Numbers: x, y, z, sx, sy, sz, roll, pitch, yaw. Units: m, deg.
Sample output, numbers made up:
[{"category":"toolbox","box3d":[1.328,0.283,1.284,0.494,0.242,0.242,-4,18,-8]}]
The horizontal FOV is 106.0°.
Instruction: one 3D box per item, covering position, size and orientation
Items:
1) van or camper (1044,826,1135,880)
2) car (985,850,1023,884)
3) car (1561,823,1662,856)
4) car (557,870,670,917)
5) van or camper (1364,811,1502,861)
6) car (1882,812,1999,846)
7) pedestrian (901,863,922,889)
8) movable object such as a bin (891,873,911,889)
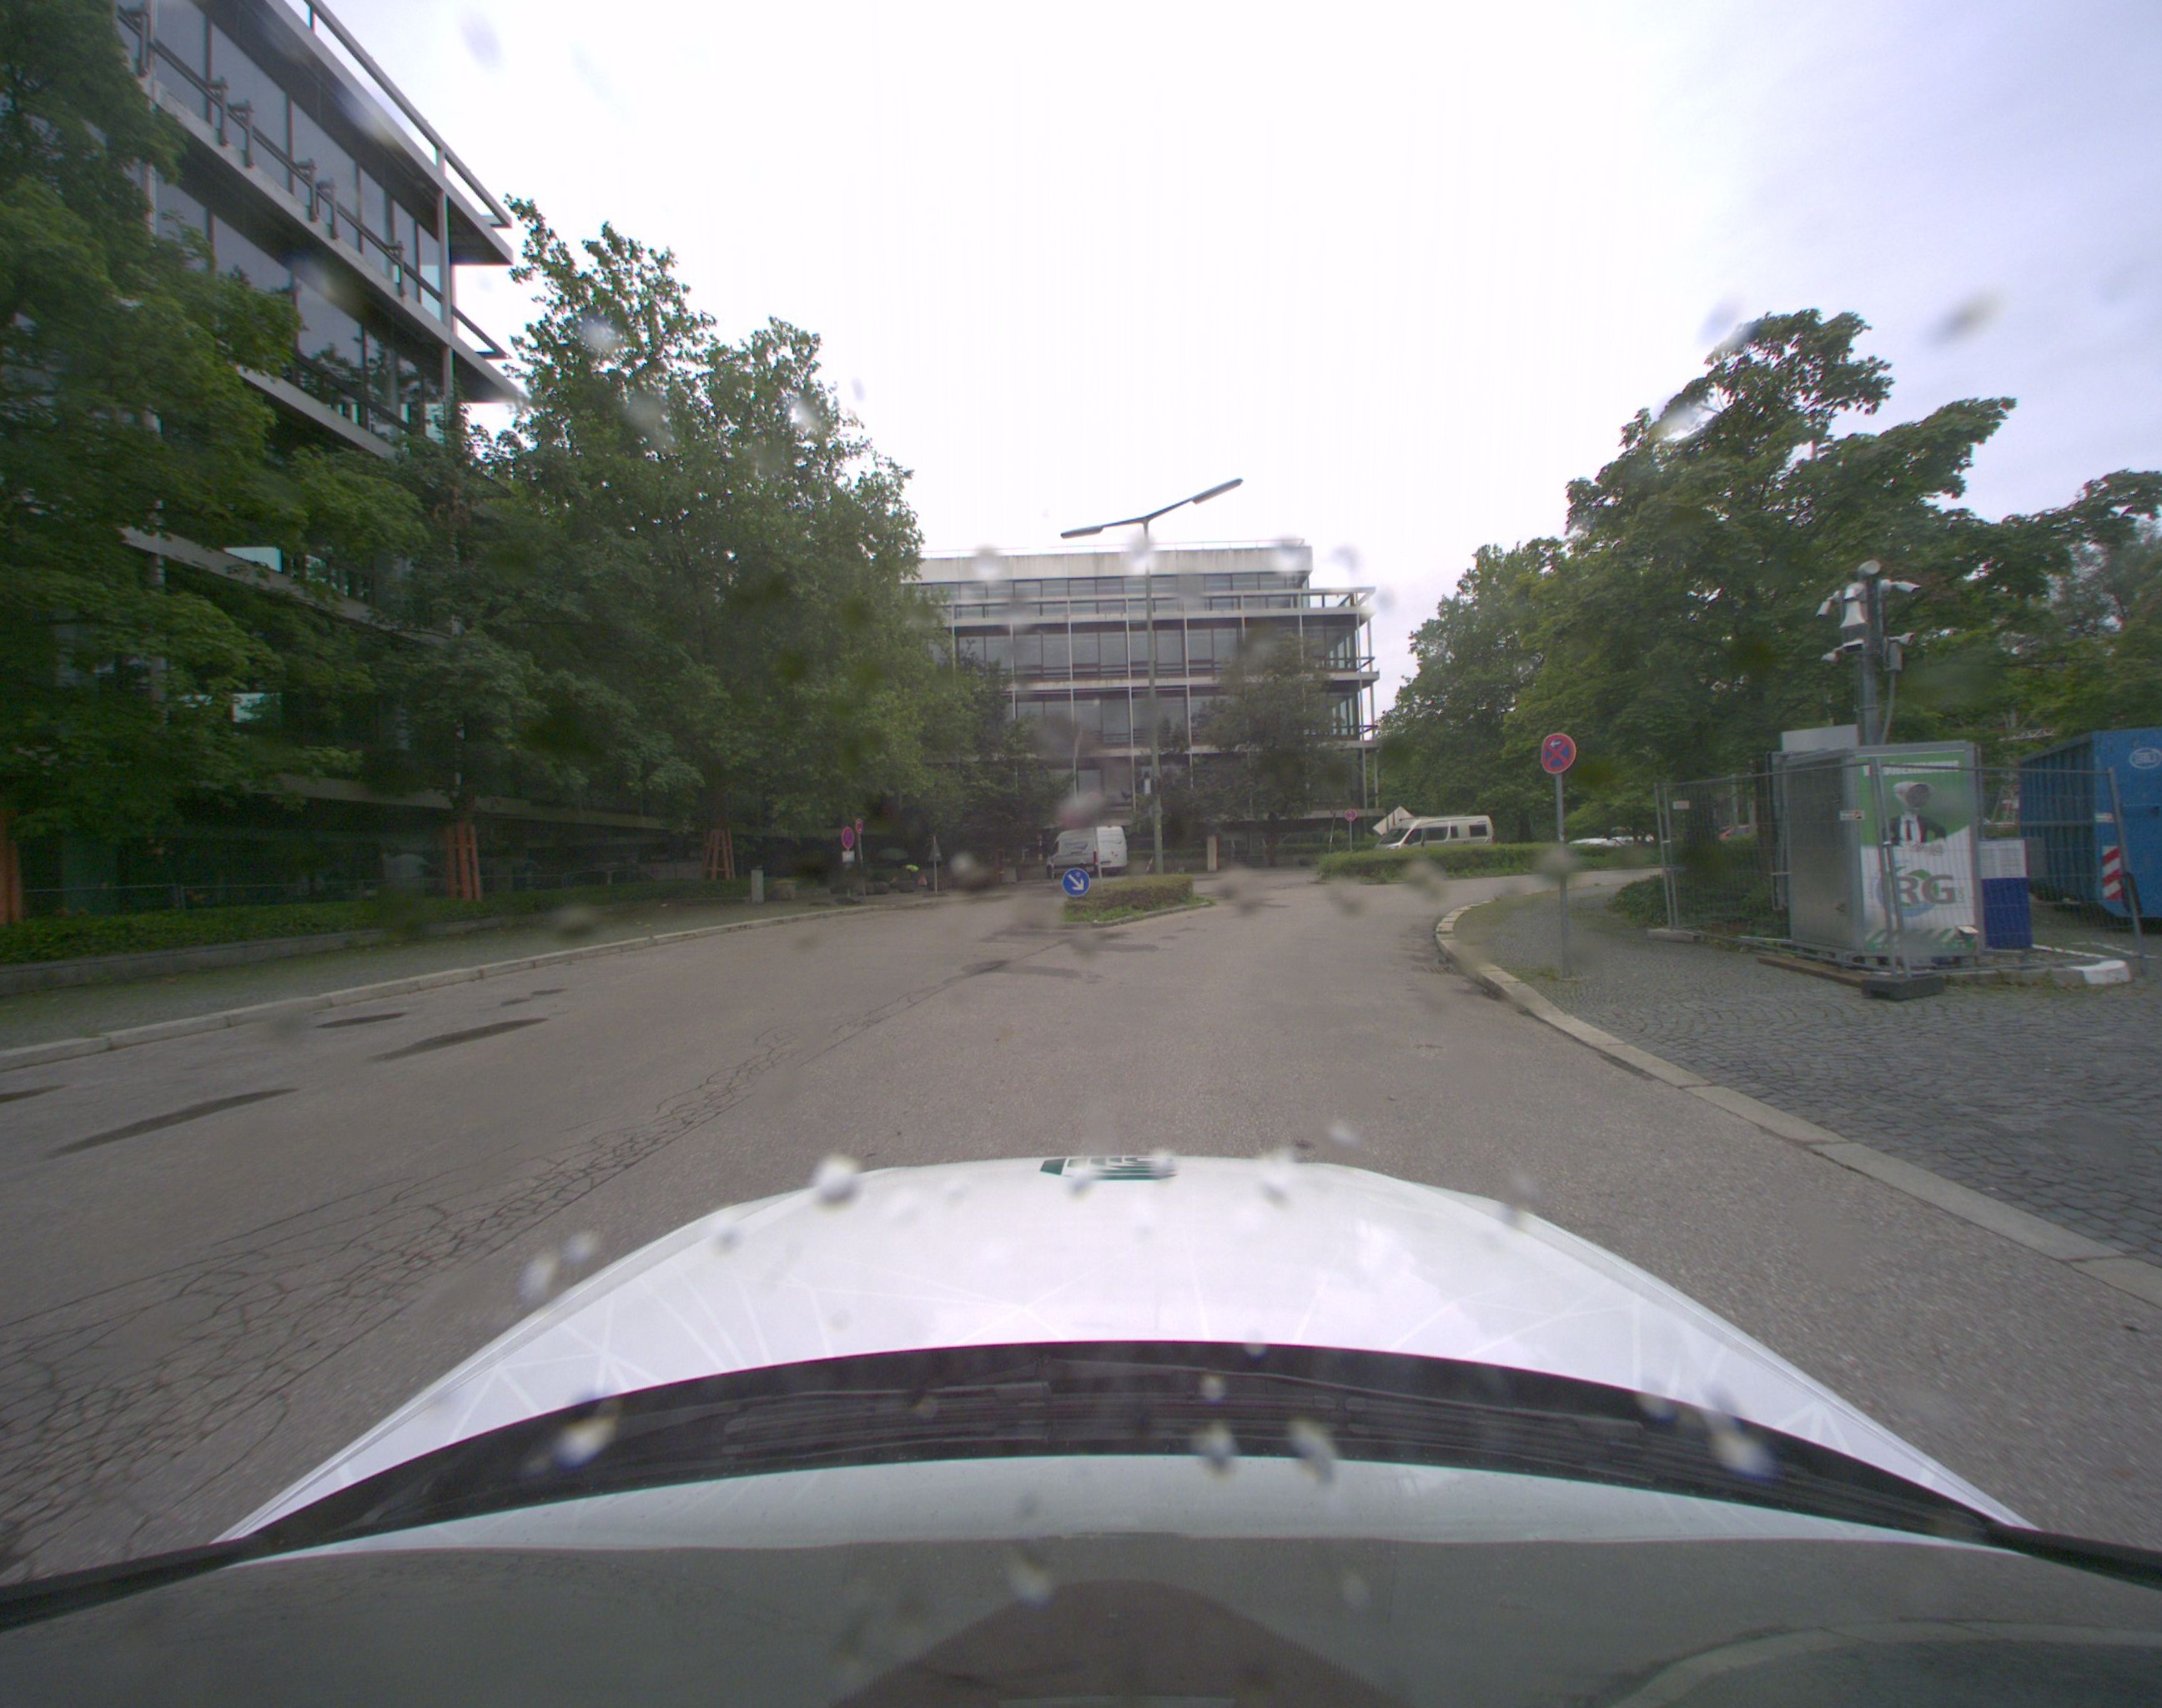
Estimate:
[{"category":"van or camper","box3d":[0.337,0.033,44.150,2.167,2.581,6.482,-2,-2,-26]},{"category":"car","box3d":[-4.194,0.677,44.867,1.938,1.721,4.232,-2,0,-4]},{"category":"car","box3d":[27.773,-0.752,42.728,3.973,1.508,2.000,-3,0,0]},{"category":"car","box3d":[-17.368,1.426,30.504,1.900,1.473,3.861,-2,0,1]},{"category":"van or camper","box3d":[17.923,-0.895,41.525,6.408,2.281,2.244,-2,0,-15]},{"category":"car","box3d":[45.079,-1.282,42.794,3.973,1.574,2.000,-3,0,0]},{"category":"pedestrian","box3d":[-8.680,1.114,41.817,0.922,1.278,0.542,-2,0,1]},{"category":"movable object such as a bin","box3d":[-9.237,1.382,41.768,0.831,0.753,0.573,-2,0,2]}]
